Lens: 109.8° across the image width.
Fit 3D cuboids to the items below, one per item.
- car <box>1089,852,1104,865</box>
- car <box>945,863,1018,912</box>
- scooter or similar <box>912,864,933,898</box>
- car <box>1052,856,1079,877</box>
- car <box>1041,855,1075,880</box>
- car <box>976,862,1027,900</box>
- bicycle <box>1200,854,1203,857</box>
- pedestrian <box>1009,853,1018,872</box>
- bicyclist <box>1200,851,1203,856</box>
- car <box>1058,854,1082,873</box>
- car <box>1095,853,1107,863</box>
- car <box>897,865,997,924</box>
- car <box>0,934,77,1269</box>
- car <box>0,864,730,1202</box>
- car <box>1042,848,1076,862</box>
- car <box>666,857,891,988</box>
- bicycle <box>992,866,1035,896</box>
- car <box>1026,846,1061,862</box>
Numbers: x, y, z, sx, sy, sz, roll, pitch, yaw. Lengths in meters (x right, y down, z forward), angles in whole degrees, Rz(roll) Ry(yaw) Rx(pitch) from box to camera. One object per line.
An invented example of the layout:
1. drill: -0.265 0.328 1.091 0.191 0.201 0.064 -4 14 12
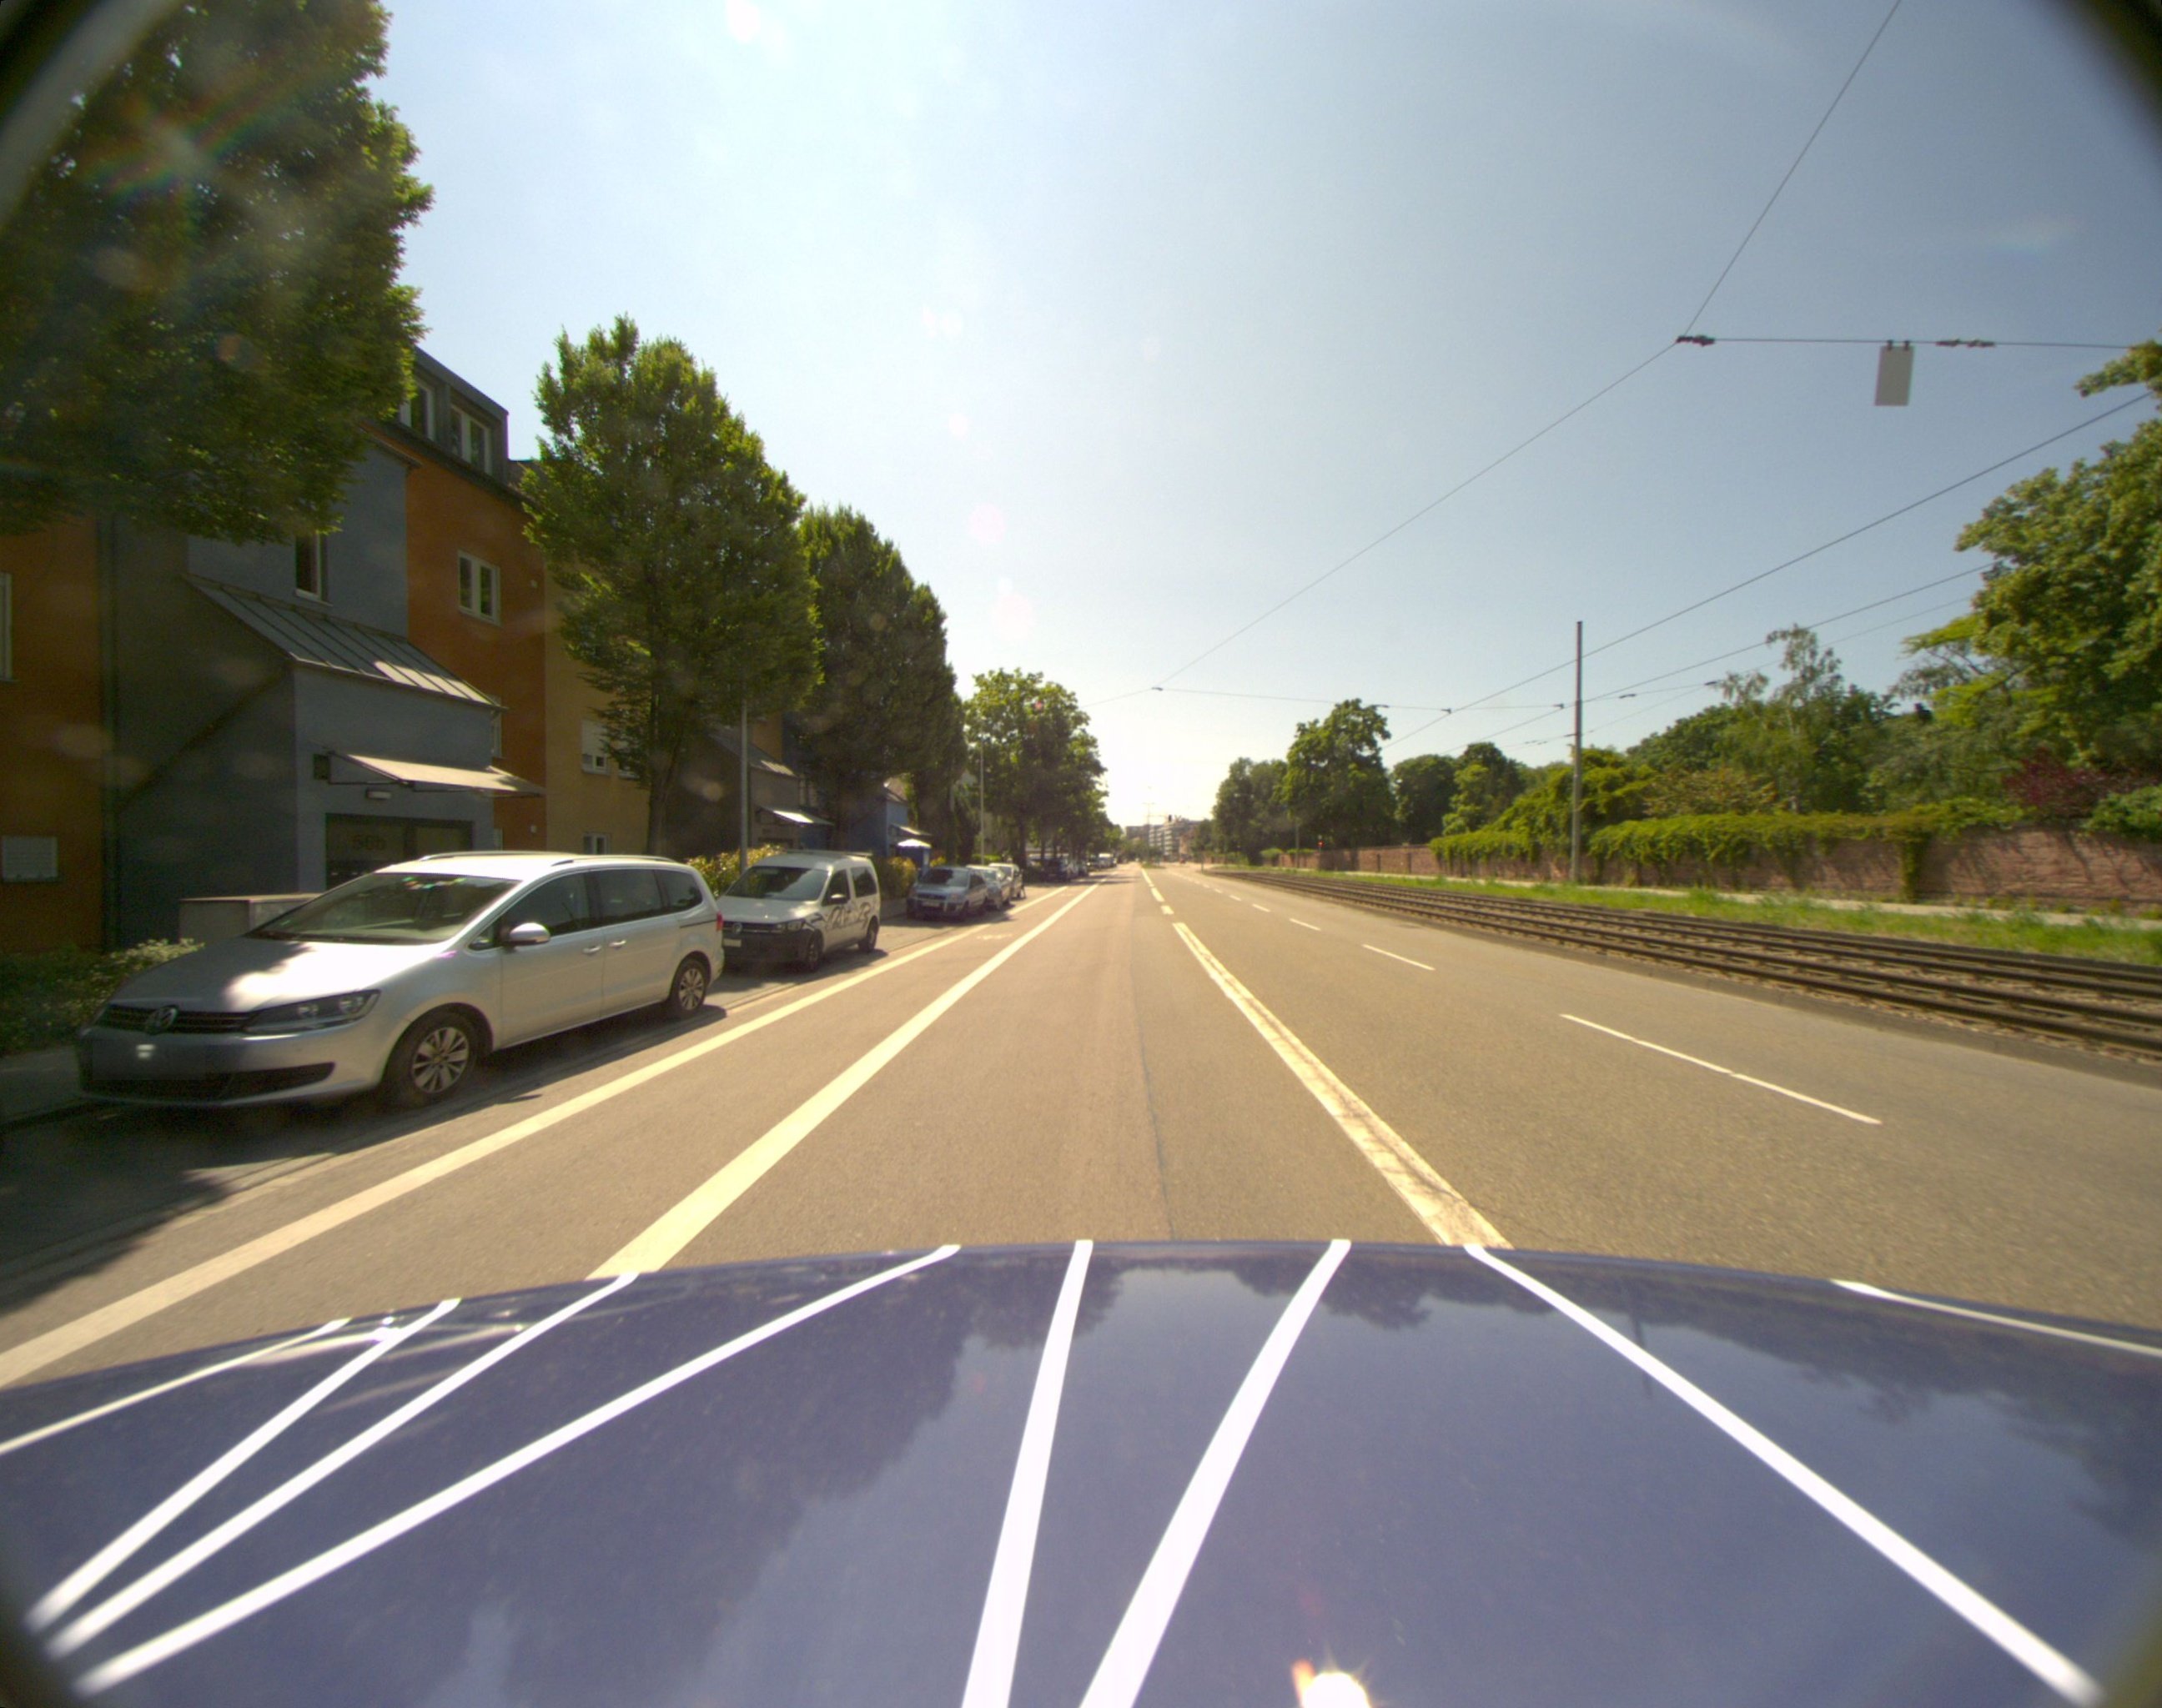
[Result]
1. car: 2.109 0.590 103.593 1.716 1.623 4.709 1 1 4
2. car: -3.539 1.155 27.835 1.845 1.520 4.966 1 0 2
3. scooter or similar: -6.254 1.045 30.012 0.385 1.272 1.339 -2 0 4
4. car: -1.212 0.968 60.377 1.845 1.520 4.354 1 0 2
5. car: -1.601 0.941 54.533 1.844 1.696 4.628 1 0 6
6. car: -3.391 1.120 32.944 1.522 1.520 3.818 1 0 4
7. bicycle: 36.038 0.357 226.913 0.654 0.951 2.115 -1 0 3
8. pedestrian: -6.298 0.813 70.575 0.749 1.712 0.633 -2 1 -2
9. bicyclist: 36.026 -0.056 226.938 0.654 1.488 0.662 -1 0 3
10. car: -0.944 0.782 65.984 1.845 1.520 4.206 1 0 2
11. car: 3.029 0.620 115.623 1.716 1.410 4.709 1 0 3
12. car: -3.920 1.127 22.907 1.844 1.520 4.218 1 0 6
13. car: -5.491 1.065 1.434 1.587 1.415 4.180 1 0 2
14. car: -5.179 0.975 6.449 1.844 1.684 4.780 1 0 5
15. car: -4.316 0.232 151.464 6.353 2.514 2.264 -3 0 7
16. car: -4.799 0.964 12.842 1.845 1.783 4.354 1 0 3
17. bicycle: -3.086 1.231 34.969 1.777 1.221 0.684 4 1 8
18. car: -6.181 0.011 126.867 5.502 2.445 2.095 -3 0 5
